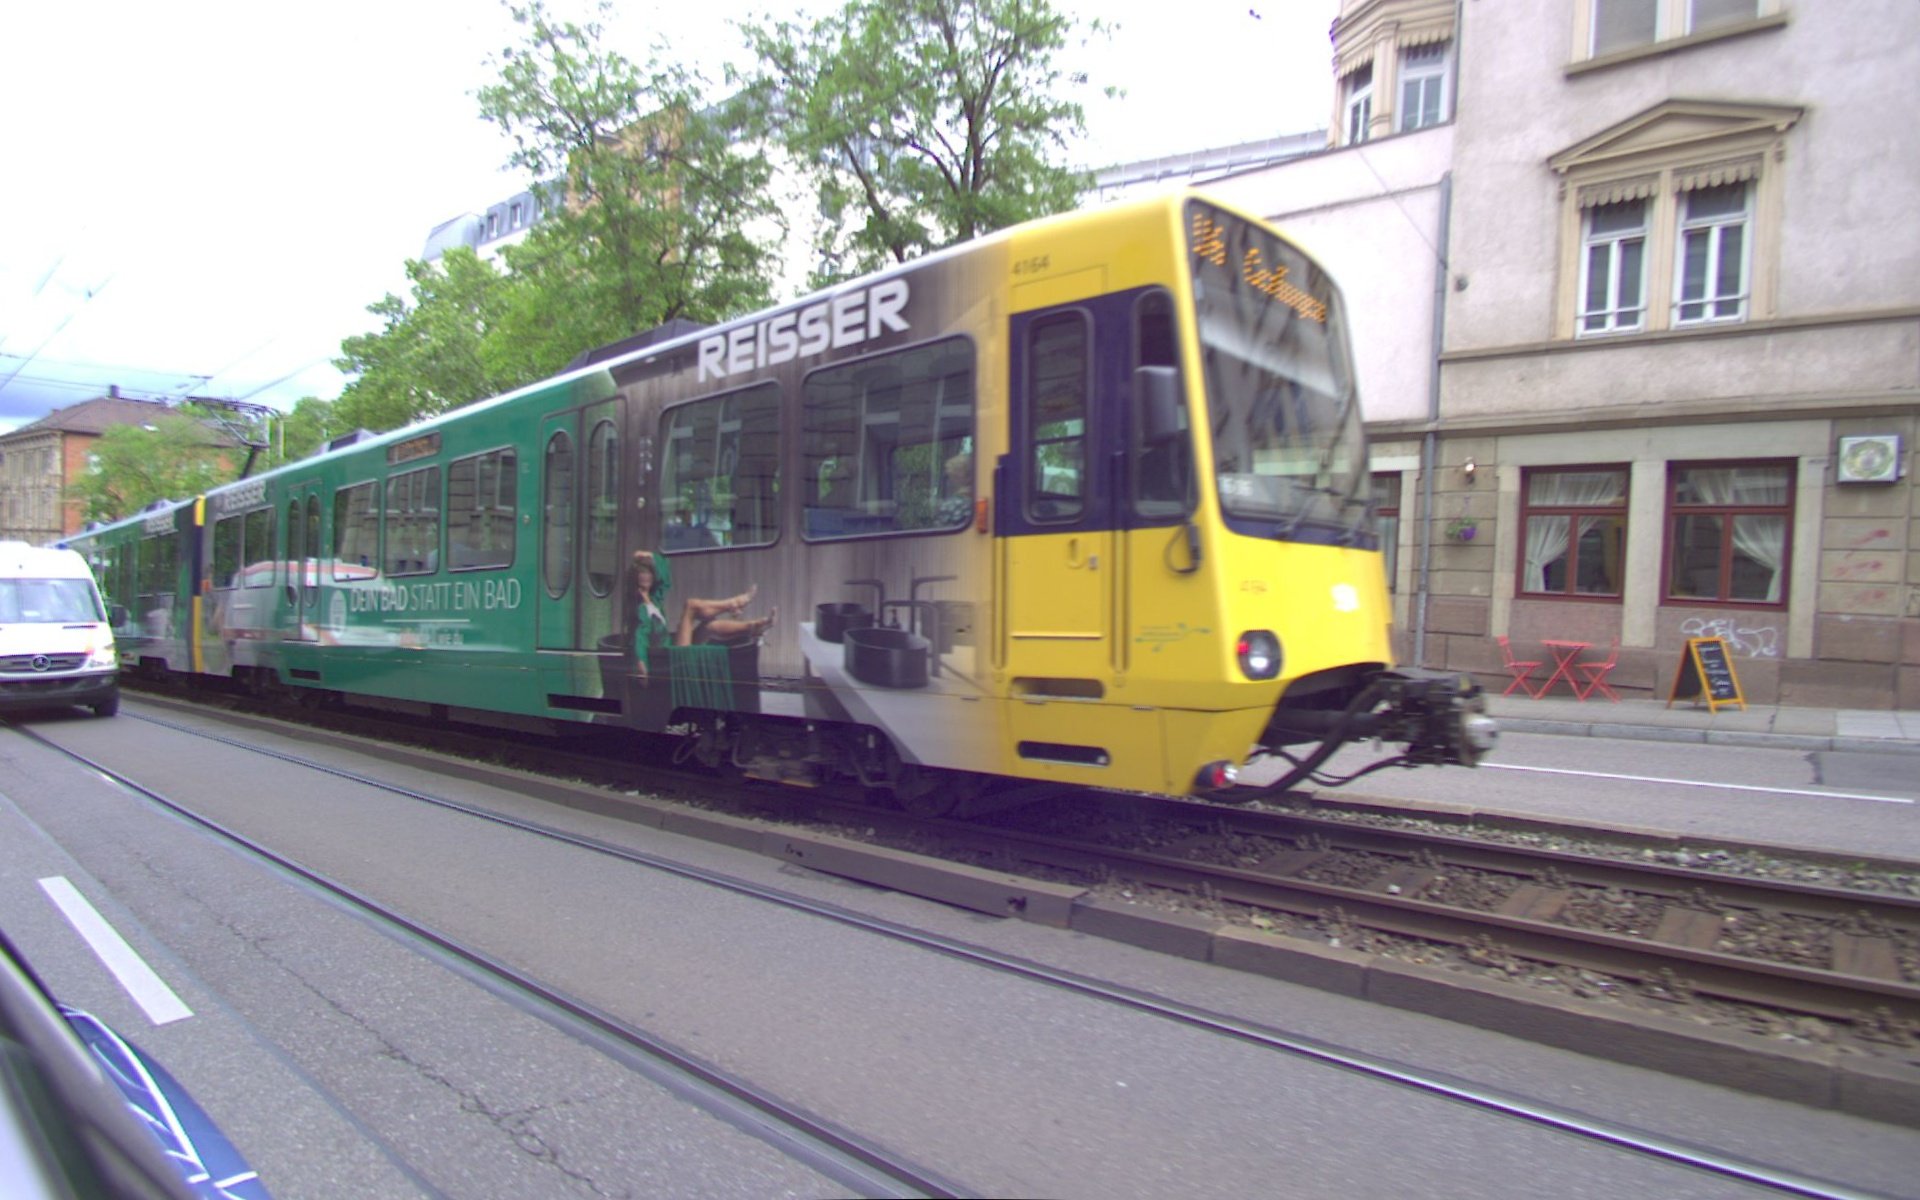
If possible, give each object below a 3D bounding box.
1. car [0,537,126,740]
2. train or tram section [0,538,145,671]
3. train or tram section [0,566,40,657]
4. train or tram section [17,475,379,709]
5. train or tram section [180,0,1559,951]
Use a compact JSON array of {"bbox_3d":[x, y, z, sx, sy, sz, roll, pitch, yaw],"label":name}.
[{"bbox_3d":[-14.864,0.588,15.717,5.851,2.720,2.012,-2,-1,41],"label":"car"},{"bbox_3d":[-32.830,0.296,35.589,18.686,3.754,2.848,-2,0,40],"label":"train or tram section"},{"bbox_3d":[-45.653,0.647,46.255,14.835,3.754,2.855,-2,0,38],"label":"train or tram section"},{"bbox_3d":[-18.589,0.029,23.472,18.746,3.754,2.846,-2,0,41],"label":"train or tram section"},{"bbox_3d":[-4.456,-0.382,11.120,18.746,3.754,2.847,-2,0,41],"label":"train or tram section"}]
